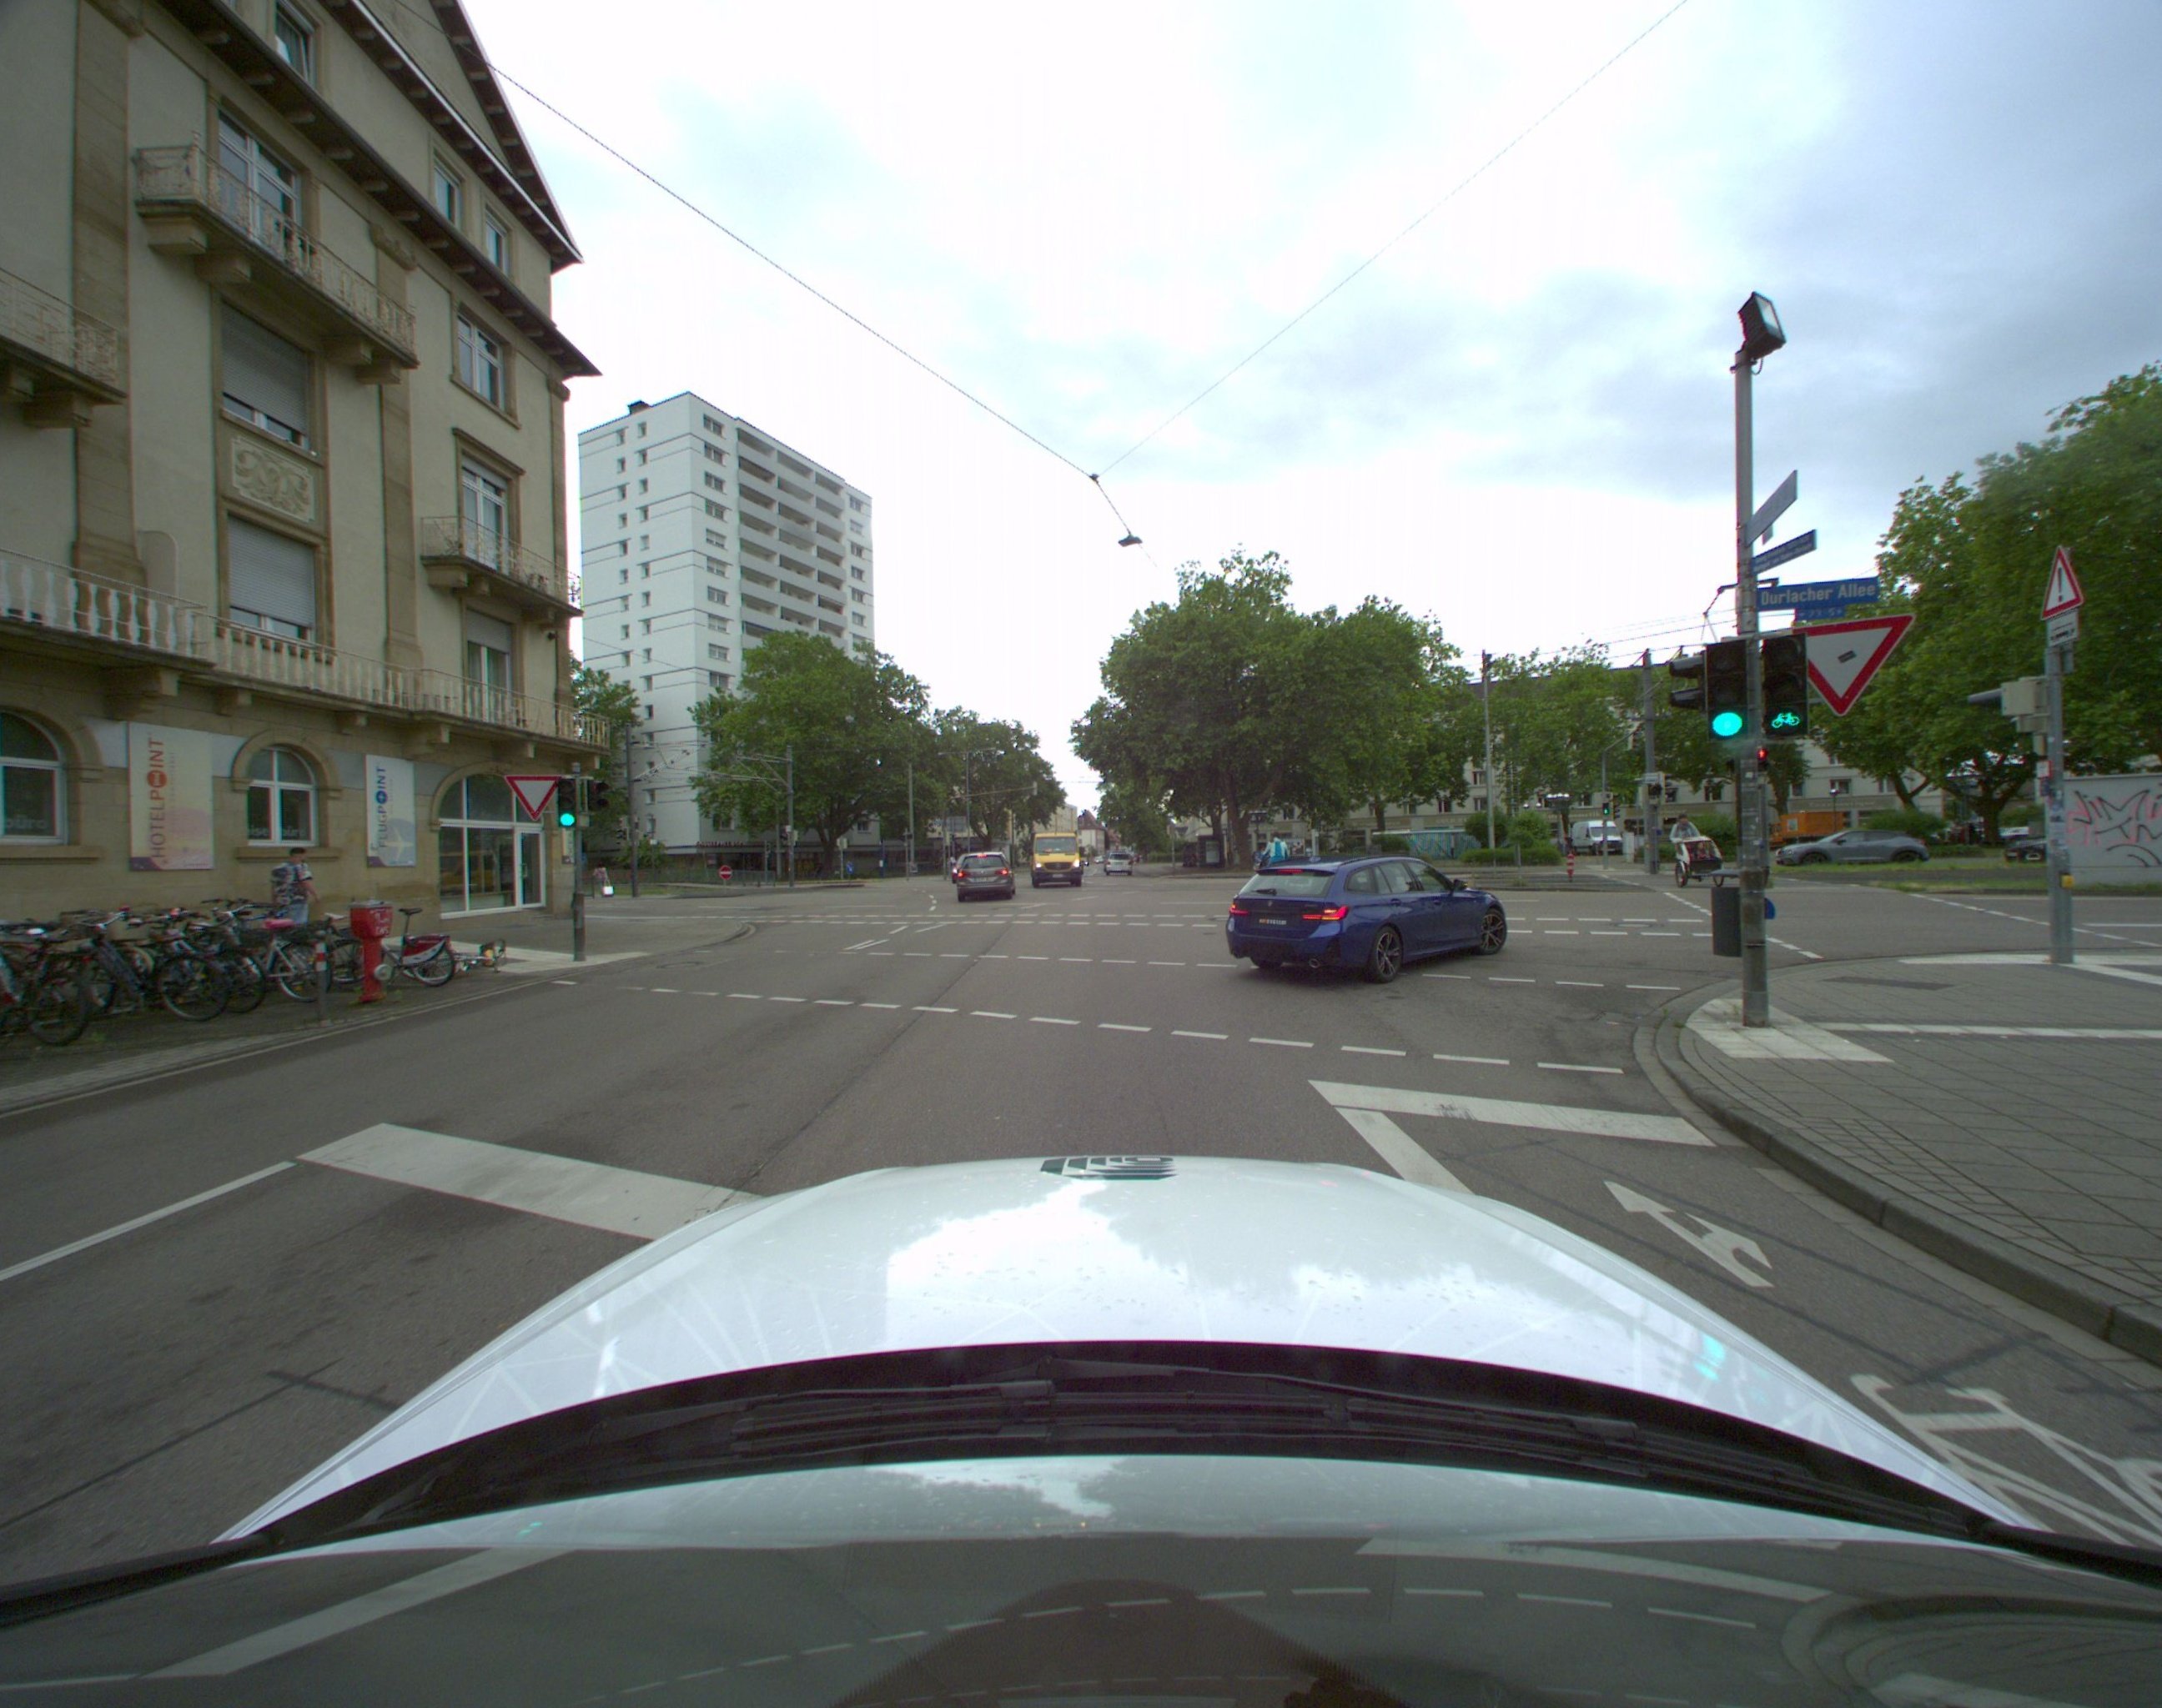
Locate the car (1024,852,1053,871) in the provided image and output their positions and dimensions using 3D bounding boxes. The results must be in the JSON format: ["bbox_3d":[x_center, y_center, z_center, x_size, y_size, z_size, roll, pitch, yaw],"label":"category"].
[{"bbox_3d":[-4.227,0.723,82.211,1.856,1.826,5.238,-2,0,8],"label":"car"}]

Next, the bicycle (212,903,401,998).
[{"bbox_3d":[-9.764,1.207,10.294,1.880,1.035,0.442,4,0,-1],"label":"bicycle"}]

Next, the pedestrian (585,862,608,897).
[{"bbox_3d":[-22.931,1.206,38.575,0.724,1.602,0.591,-2,0,25],"label":"pedestrian"}]

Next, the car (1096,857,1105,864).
[{"bbox_3d":[4.182,1.438,177.028,1.760,1.486,4.002,-2,0,2],"label":"car"}]

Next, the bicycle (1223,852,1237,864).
[{"bbox_3d":[15.169,0.381,82.925,0.771,1.168,2.347,-2,-1,27],"label":"bicycle"}]

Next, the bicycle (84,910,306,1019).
[{"bbox_3d":[-9.751,1.208,8.996,1.880,1.035,0.442,4,0,-1],"label":"bicycle"}]

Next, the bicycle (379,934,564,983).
[{"bbox_3d":[-8.815,1.513,11.859,1.880,0.445,1.029,4,1,-1],"label":"bicycle"}]

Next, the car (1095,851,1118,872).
[{"bbox_3d":[2.381,0.652,75.983,1.987,1.848,4.000,-2,0,0],"label":"car"}]

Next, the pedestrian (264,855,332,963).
[{"bbox_3d":[-13.373,0.920,13.922,0.564,1.785,0.551,-2,0,3],"label":"pedestrian"}]

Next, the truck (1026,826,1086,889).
[{"bbox_3d":[-1.179,0.125,35.066,2.072,2.408,5.450,-3,0,-6],"label":"truck"}]

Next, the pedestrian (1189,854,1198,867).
[{"bbox_3d":[11.171,0.664,80.935,0.850,1.314,0.763,-2,-1,1],"label":"pedestrian"}]

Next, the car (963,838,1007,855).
[{"bbox_3d":[-9.942,-0.797,84.324,4.009,1.706,1.982,-1,-1,-27],"label":"car"}]

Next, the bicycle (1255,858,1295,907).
[{"bbox_3d":[4.666,0.651,19.702,0.492,1.098,2.139,-2,0,2],"label":"bicycle"}]

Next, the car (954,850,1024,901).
[{"bbox_3d":[-3.015,0.667,27.470,1.726,1.525,4.002,-2,0,2],"label":"car"}]

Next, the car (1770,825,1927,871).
[{"bbox_3d":[29.001,-0.195,30.935,3.940,1.561,1.697,-2,-1,24],"label":"car"}]

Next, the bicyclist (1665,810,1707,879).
[{"bbox_3d":[14.845,-0.225,20.004,0.608,1.654,0.758,-2,0,23],"label":"bicyclist"}]

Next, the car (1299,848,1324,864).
[{"bbox_3d":[23.867,0.227,84.265,1.779,1.543,3.850,-2,0,27],"label":"car"}]

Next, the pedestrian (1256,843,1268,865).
[{"bbox_3d":[14.776,-0.001,66.466,0.781,1.743,0.925,-2,-1,0],"label":"pedestrian"}]

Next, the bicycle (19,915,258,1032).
[{"bbox_3d":[-9.753,1.225,8.460,1.880,1.035,0.442,4,0,-1],"label":"bicycle"}]

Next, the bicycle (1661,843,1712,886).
[{"bbox_3d":[14.899,0.246,20.076,0.546,0.995,2.072,-2,0,24],"label":"bicycle"}]

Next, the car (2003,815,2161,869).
[{"bbox_3d":[35.034,-0.396,28.069,3.901,1.711,1.697,-2,-1,24],"label":"car"}]

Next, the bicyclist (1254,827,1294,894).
[{"bbox_3d":[4.552,0.150,19.248,0.683,1.517,1.059,-2,0,2],"label":"bicyclist"}]

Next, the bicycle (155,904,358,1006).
[{"bbox_3d":[-9.749,1.188,9.658,1.880,1.035,0.442,4,0,-1],"label":"bicycle"}]

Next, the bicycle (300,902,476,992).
[{"bbox_3d":[-9.185,1.226,10.829,1.880,1.035,0.442,4,0,-1],"label":"bicycle"}]

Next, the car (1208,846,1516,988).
[{"bbox_3d":[3.810,0.668,10.668,4.342,1.405,1.800,-2,0,-40],"label":"car"}]

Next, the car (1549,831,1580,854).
[{"bbox_3d":[34.697,-0.847,58.485,1.649,1.515,3.962,-2,0,28],"label":"car"}]

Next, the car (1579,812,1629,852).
[{"bbox_3d":[37.475,-1.532,58.475,2.214,2.639,5.479,-2,0,25],"label":"car"}]

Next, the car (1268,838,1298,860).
[{"bbox_3d":[21.199,-0.489,85.465,2.154,2.200,4.024,-2,0,26],"label":"car"}]

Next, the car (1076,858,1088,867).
[{"bbox_3d":[0.158,1.418,136.222,1.846,1.453,4.169,-2,0,2],"label":"car"}]

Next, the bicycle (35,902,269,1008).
[{"bbox_3d":[-11.244,1.175,9.984,0.499,1.027,1.998,-2,0,2],"label":"bicycle"}]

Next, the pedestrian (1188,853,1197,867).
[{"bbox_3d":[11.199,0.640,81.789,0.814,1.372,0.763,-2,-1,1],"label":"pedestrian"}]

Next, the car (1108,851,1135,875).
[{"bbox_3d":[2.850,0.640,58.453,1.808,1.592,4.002,-2,0,2],"label":"car"}]

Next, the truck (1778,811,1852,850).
[{"bbox_3d":[51.996,-1.657,57.820,2.361,2.591,4.018,-2,0,17],"label":"truck"}]

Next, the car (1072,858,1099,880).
[{"bbox_3d":[0.371,1.082,60.010,1.802,1.427,4.319,-2,0,2],"label":"car"}]

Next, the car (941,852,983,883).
[{"bbox_3d":[-6.379,0.702,43.962,1.728,1.525,3.997,-2,0,-2],"label":"car"}]

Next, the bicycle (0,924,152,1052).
[{"bbox_3d":[-9.869,1.226,7.646,1.877,1.035,0.443,3,0,4],"label":"bicycle"}]

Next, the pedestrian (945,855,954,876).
[{"bbox_3d":[-11.451,1.000,70.837,0.571,1.785,0.622,-2,0,10],"label":"pedestrian"}]
